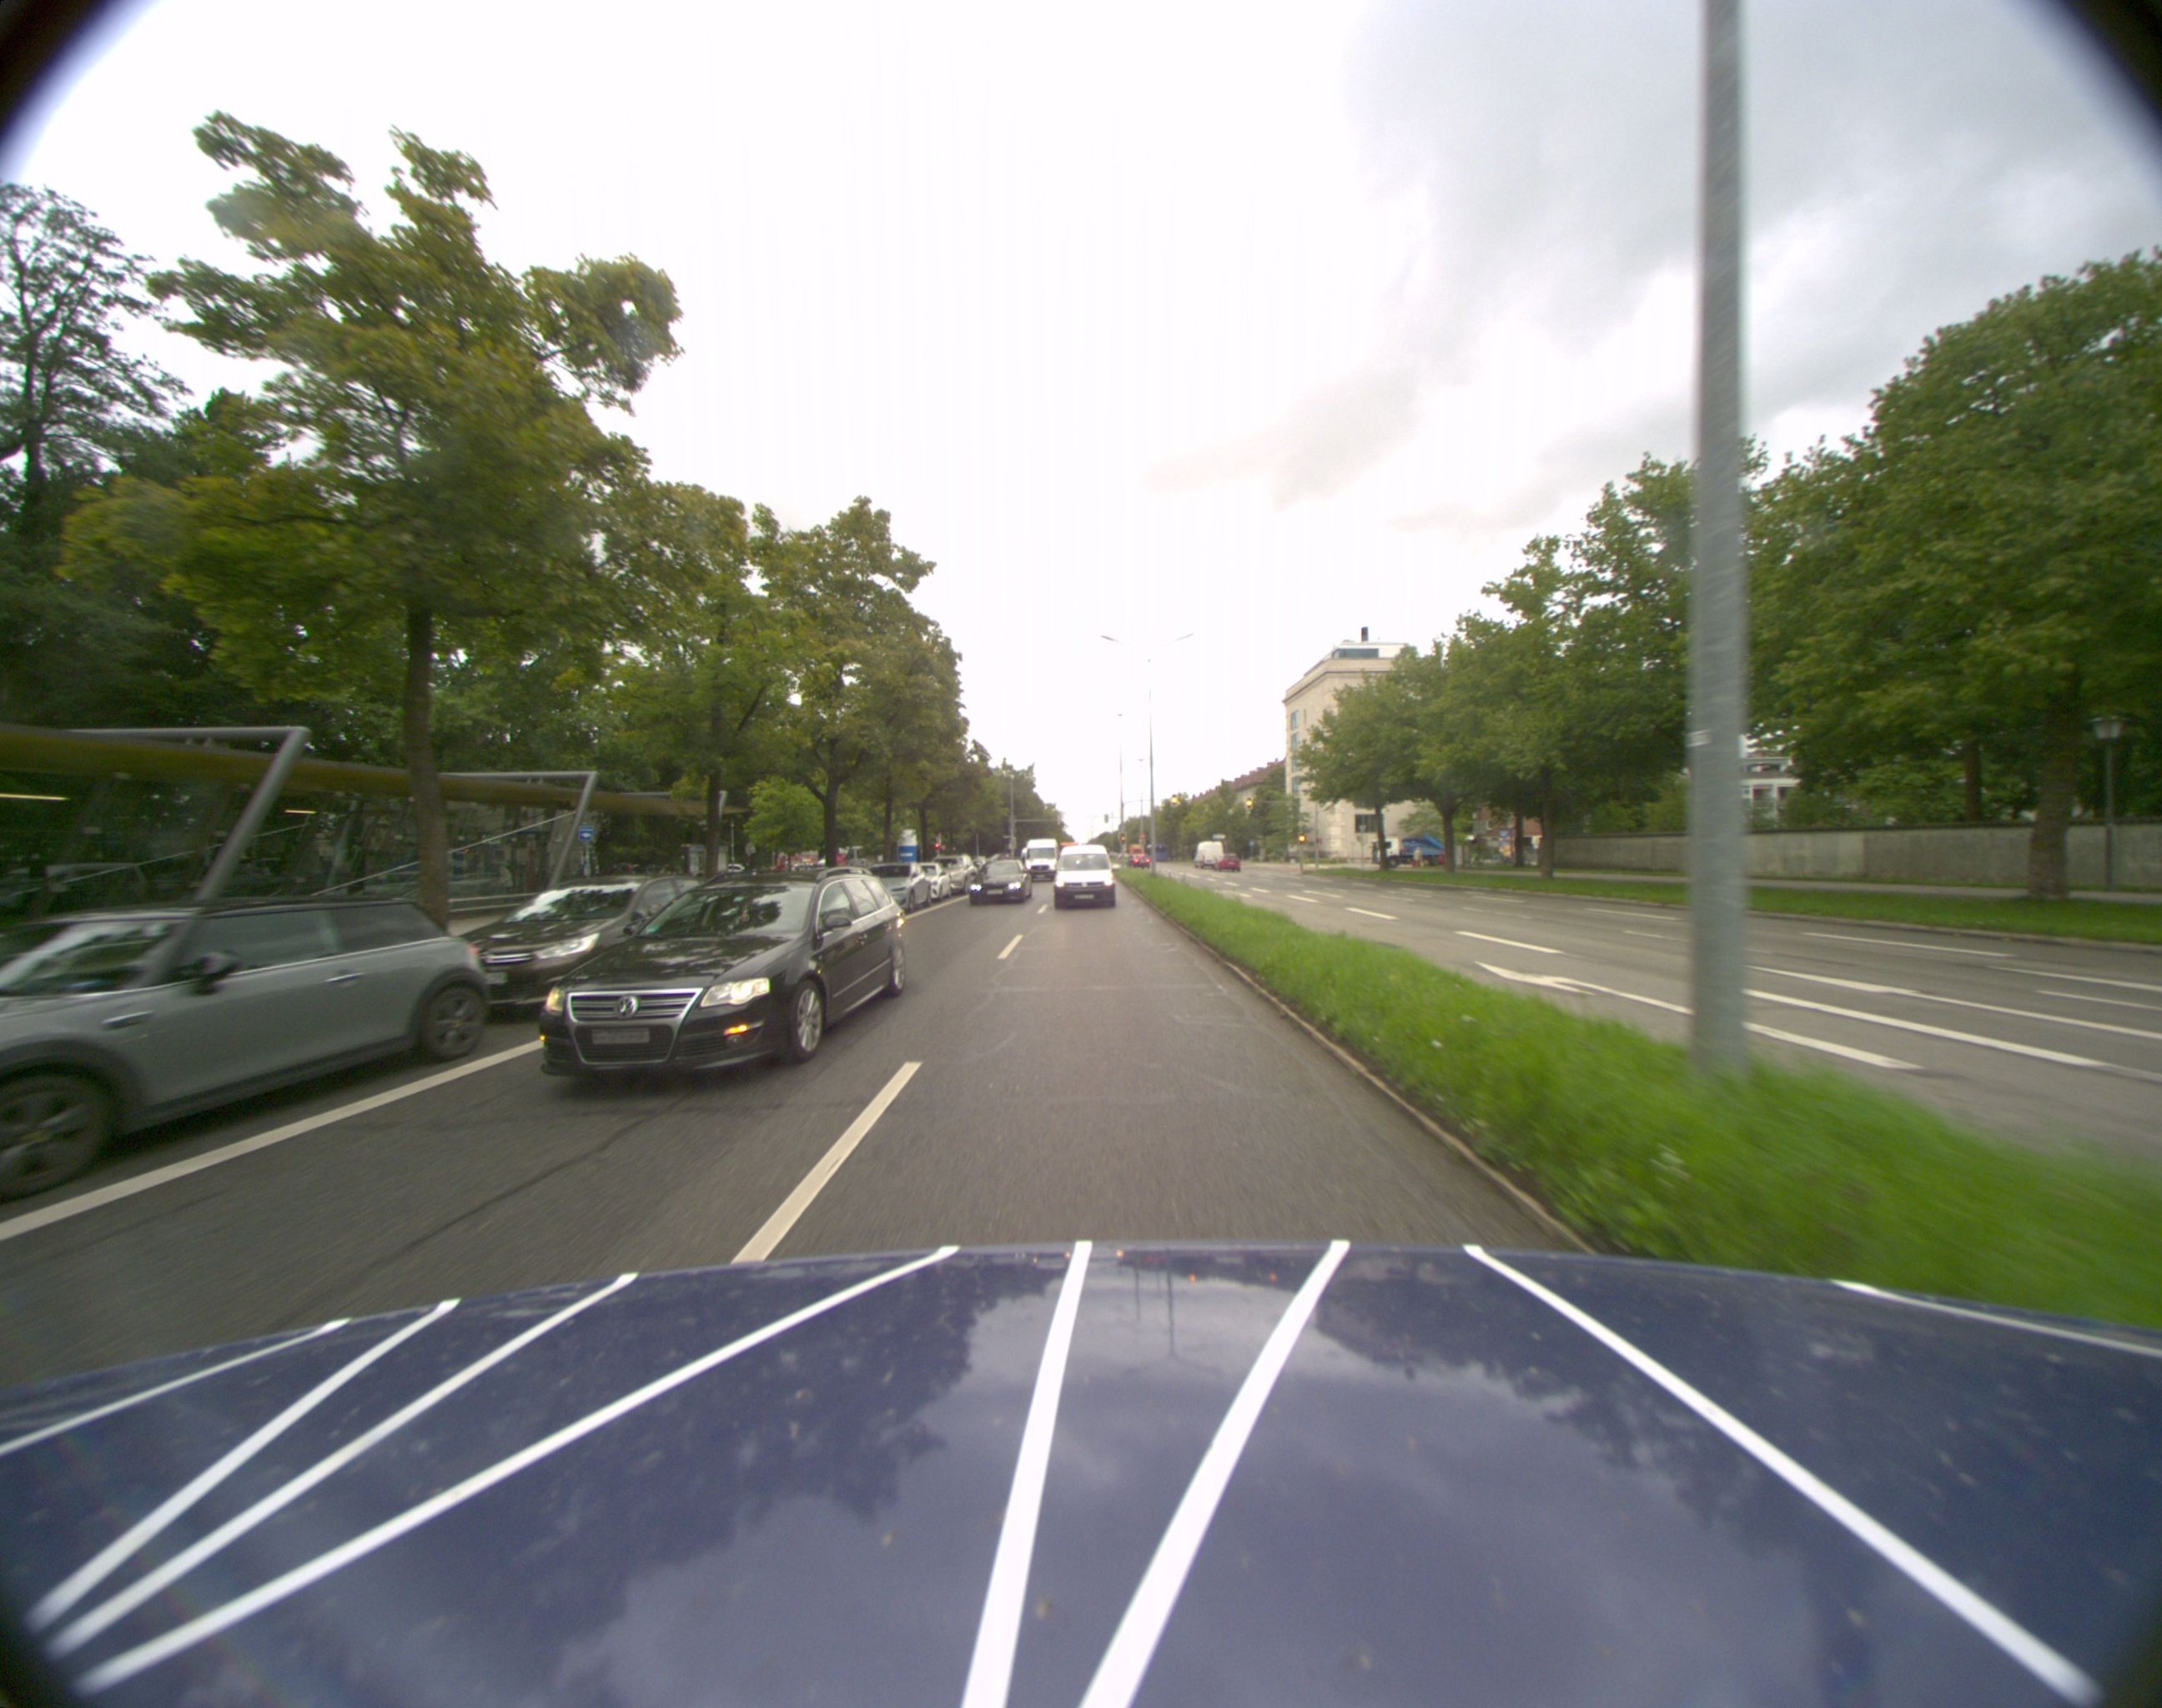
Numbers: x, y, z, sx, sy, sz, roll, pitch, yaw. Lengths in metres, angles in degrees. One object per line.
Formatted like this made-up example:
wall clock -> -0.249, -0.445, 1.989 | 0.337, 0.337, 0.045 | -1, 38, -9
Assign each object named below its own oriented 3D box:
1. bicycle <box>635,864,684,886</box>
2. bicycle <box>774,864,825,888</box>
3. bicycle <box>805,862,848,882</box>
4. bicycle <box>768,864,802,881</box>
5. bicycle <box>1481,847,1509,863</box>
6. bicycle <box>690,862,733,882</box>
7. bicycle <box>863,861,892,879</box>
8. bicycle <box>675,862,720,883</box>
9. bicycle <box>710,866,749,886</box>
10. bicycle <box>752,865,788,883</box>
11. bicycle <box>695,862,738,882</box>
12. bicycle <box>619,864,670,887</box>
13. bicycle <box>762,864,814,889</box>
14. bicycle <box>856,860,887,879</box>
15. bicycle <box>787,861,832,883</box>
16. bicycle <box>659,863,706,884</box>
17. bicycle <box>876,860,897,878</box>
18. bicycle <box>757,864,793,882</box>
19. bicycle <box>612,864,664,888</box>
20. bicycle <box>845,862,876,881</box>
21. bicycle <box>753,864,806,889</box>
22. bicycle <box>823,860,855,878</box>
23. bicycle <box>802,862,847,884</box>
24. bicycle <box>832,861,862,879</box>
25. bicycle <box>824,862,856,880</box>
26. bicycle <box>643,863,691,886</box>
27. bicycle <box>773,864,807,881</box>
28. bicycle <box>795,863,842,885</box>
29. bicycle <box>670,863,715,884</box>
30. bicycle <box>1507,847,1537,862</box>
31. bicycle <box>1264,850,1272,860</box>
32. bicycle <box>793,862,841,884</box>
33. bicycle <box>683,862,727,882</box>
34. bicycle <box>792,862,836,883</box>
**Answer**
bicycle -> -22.719, 1.121, 40.995 | 2.344, 1.151, 0.529 | 1, 1, 0
bicycle -> -14.218, 1.105, 38.444 | 2.346, 1.151, 0.529 | 1, 1, -8
bicycle -> -15.034, 1.061, 44.963 | 2.344, 1.151, 0.585 | 1, 1, 0
bicycle -> -21.180, 1.312, 54.395 | 0.716, 1.147, 2.133 | 0, 1, 41
bicycle -> 32.181, 0.067, 59.082 | 0.837, 1.179, 2.496 | -1, 0, 0
bicycle -> -22.318, 1.085, 45.879 | 2.344, 1.151, 0.529 | 1, 1, 0
bicycle -> -13.416, 1.070, 50.078 | 1.812, 1.136, 0.567 | 0, 1, -10
bicycle -> -22.509, 1.098, 44.605 | 2.344, 1.151, 0.529 | 1, 1, 0
bicycle -> -22.455, 1.386, 48.525 | 2.133, 1.147, 0.716 | -1, 1, -42
bicycle -> -20.735, 1.309, 50.673 | 2.133, 1.147, 0.716 | -2, 1, -45
bicycle -> -22.301, 1.082, 46.470 | 2.344, 1.151, 0.529 | 1, 1, 0
bicycle -> -22.982, 1.136, 39.995 | 2.344, 1.151, 0.529 | 1, 1, 0
bicycle -> -14.469, 1.100, 37.533 | 2.344, 1.151, 0.529 | 1, 1, 0
bicycle -> -13.935, 1.037, 50.662 | 1.946, 1.205, 0.567 | 0, 1, -10
bicycle -> -15.437, 1.022, 43.242 | 2.344, 1.151, 0.585 | 1, 1, 0
bicycle -> -22.433, 1.102, 42.823 | 2.344, 1.151, 0.529 | 1, 1, 0
bicycle -> -13.686, 1.020, 53.513 | 0.863, 1.191, 2.000 | 1, 1, 5
bicycle -> -20.986, 1.313, 52.147 | 0.716, 1.147, 2.133 | 0, 1, 41
bicycle -> -22.938, 1.137, 39.358 | 2.344, 1.151, 0.529 | 1, 1, 0
bicycle -> -13.801, 1.089, 47.595 | 1.810, 1.136, 0.567 | 1, 1, 6
bicycle -> -14.490, 1.093, 36.511 | 2.344, 1.151, 0.529 | 1, 1, 0
bicycle -> -16.045, 0.989, 50.344 | 1.946, 1.205, 0.567 | 0, 1, -10
bicycle -> -14.183, 1.053, 42.040 | 2.344, 1.151, 0.529 | 1, 1, 0
bicycle -> -15.236, 1.050, 49.460 | 1.810, 1.136, 0.567 | 1, 1, 6
bicycle -> -15.332, 1.059, 48.345 | 1.810, 1.136, 0.567 | 0, 1, 1
bicycle -> -22.646, 1.116, 41.587 | 2.344, 1.151, 0.529 | 1, 1, 0
bicycle -> -20.595, 1.290, 53.843 | 0.716, 1.147, 2.133 | 0, 1, 41
bicycle -> -14.334, 1.079, 41.491 | 2.344, 1.151, 0.529 | 1, 1, 0
bicycle -> -22.444, 1.098, 43.880 | 2.344, 1.151, 0.529 | 1, 1, 0
bicycle -> 34.009, 0.031, 58.678 | 0.837, 1.179, 2.496 | -1, 0, 0
bicycle -> 24.074, 0.114, 98.044 | 0.546, 1.174, 1.826 | -1, 0, 0
bicycle -> -14.222, 1.029, 40.939 | 2.344, 1.151, 0.529 | 1, 1, 0
bicycle -> -22.380, 1.090, 45.294 | 2.344, 1.151, 0.529 | 1, 1, 0
bicycle -> -15.583, 1.068, 44.320 | 2.344, 1.151, 0.585 | 1, 1, 0
